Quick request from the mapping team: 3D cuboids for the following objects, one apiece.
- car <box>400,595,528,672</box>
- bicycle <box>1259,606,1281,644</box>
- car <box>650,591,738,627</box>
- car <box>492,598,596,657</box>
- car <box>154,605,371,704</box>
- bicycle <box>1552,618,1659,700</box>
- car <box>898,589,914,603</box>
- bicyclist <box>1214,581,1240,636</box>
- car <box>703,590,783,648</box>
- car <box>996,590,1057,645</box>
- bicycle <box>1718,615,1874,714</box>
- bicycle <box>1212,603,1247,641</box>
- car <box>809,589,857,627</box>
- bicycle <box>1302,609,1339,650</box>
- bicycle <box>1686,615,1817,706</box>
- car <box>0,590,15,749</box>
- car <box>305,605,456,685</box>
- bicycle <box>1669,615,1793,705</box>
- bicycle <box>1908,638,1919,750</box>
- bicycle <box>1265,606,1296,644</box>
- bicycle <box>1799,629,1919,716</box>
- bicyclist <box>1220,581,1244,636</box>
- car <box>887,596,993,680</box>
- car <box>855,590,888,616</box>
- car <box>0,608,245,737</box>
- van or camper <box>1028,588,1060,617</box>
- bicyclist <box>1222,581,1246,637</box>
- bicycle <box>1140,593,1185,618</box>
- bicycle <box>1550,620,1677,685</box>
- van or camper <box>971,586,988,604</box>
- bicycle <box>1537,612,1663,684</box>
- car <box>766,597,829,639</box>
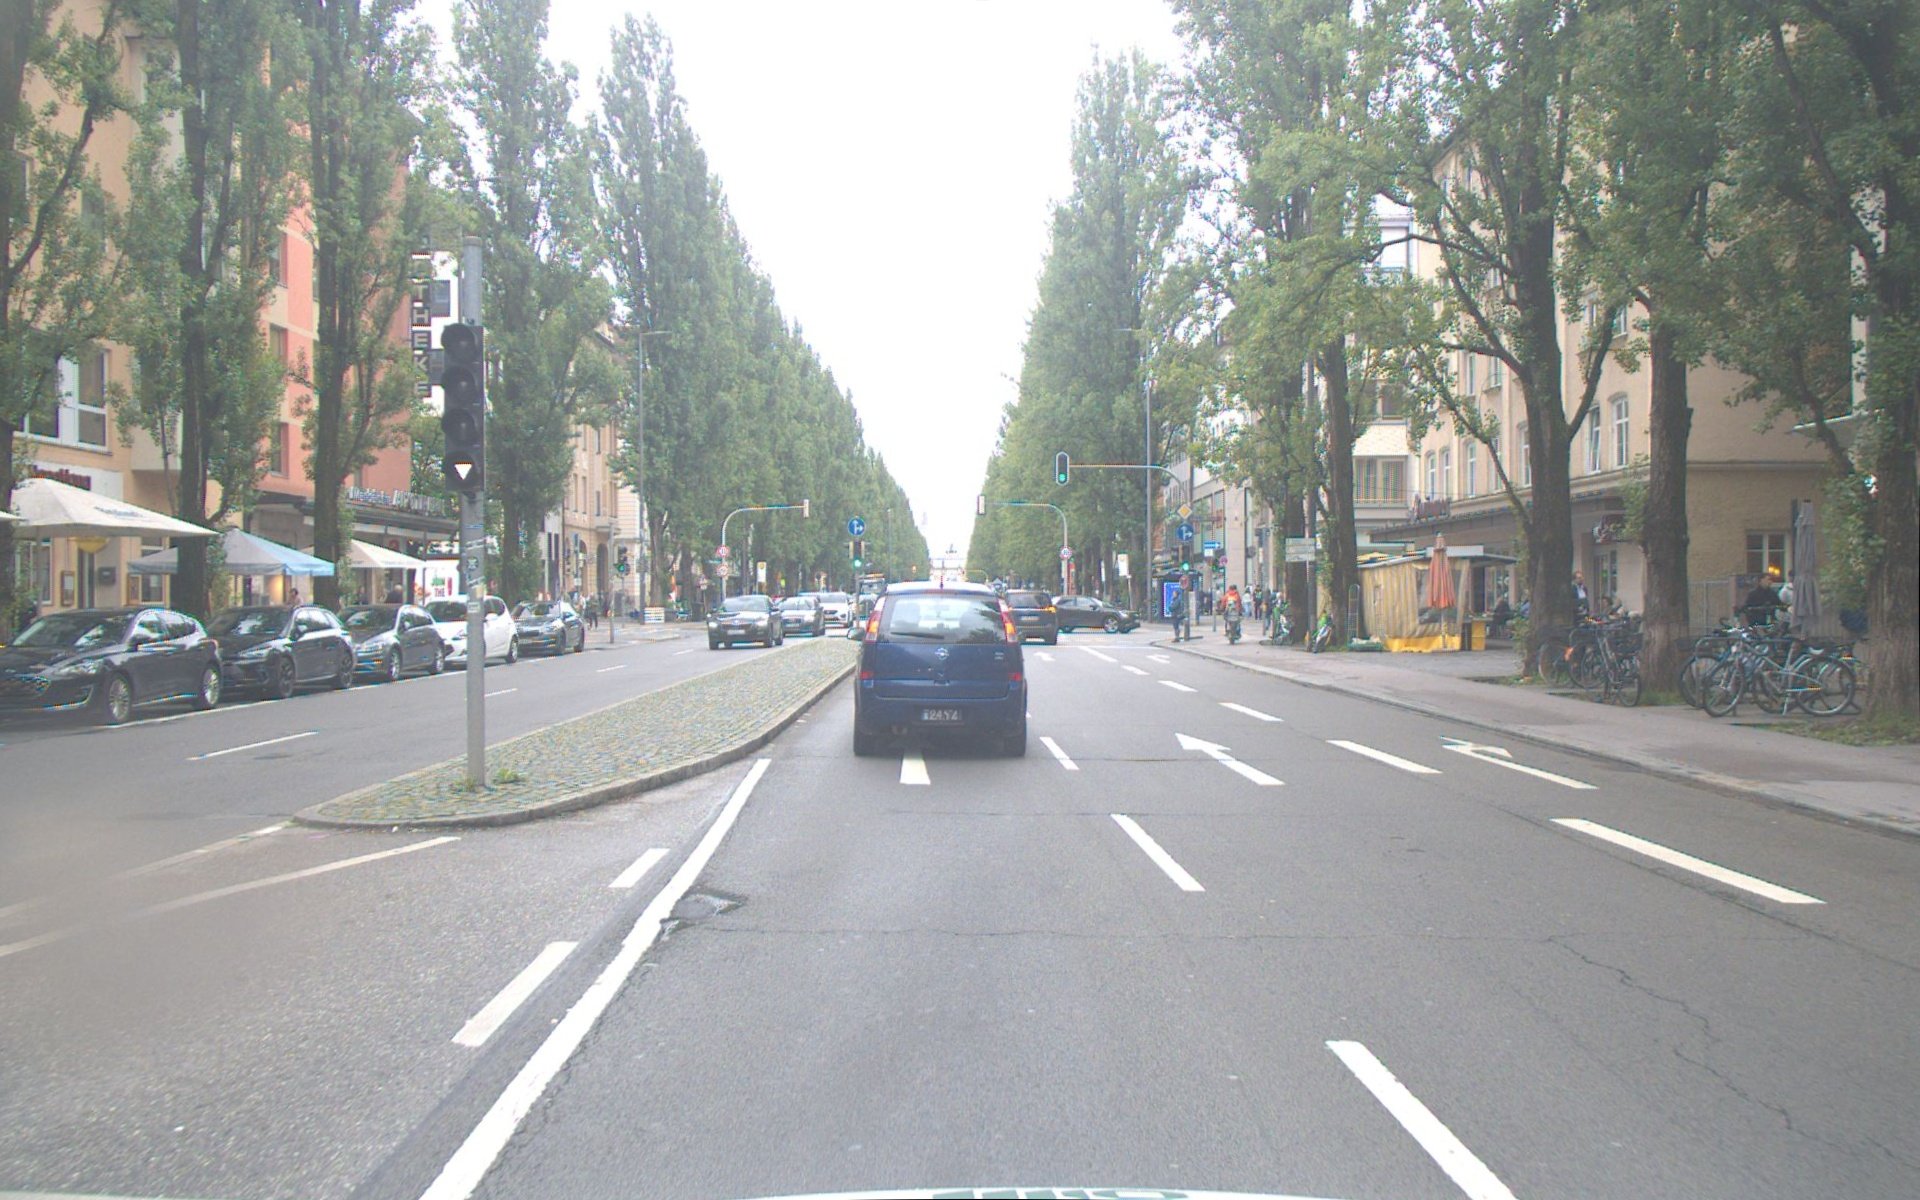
[{"bbox_3d":[-11.210,0.738,37.661,1.668,1.611,4.095,-2,0,0],"label":"car"},{"bbox_3d":[9.305,0.737,49.621,0.396,1.088,1.812,5,1,15],"label":"bicycle"},{"bbox_3d":[-11.864,0.389,73.701,3.636,1.501,1.763,-1,0,-19],"label":"car"},{"bbox_3d":[-11.252,0.722,45.026,1.668,1.463,4.589,-2,0,0],"label":"car"},{"bbox_3d":[-11.241,0.830,26.997,1.668,1.437,4.433,-2,0,0],"label":"car"},{"bbox_3d":[9.154,0.817,23.538,0.425,1.080,2.000,-1,0,-10],"label":"bicycle"},{"bbox_3d":[-6.869,-0.510,209.928,1.874,1.710,4.585,-1,0,-1],"label":"car"},{"bbox_3d":[7.969,0.253,49.380,0.609,1.616,0.753,-1,0,-1],"label":"bicyclist"},{"bbox_3d":[-6.085,0.513,46.681,1.721,1.491,4.049,-2,0,-1],"label":"car"},{"bbox_3d":[2.008,0.497,50.874,1.671,1.601,3.999,-1,0,-1],"label":"car"},{"bbox_3d":[10.127,0.769,20.030,1.830,1.155,0.339,-1,0,-9],"label":"bicycle"},{"bbox_3d":[7.978,0.643,49.098,0.614,1.106,2.263,-1,0,-1],"label":"bicycle"},{"bbox_3d":[-5.922,0.342,77.329,1.806,1.664,4.575,-2,0,0],"label":"car"},{"bbox_3d":[9.249,0.744,42.500,0.498,0.992,1.769,-1,0,-2],"label":"bicycle"},{"bbox_3d":[10.203,0.769,21.326,1.631,1.126,0.395,-1,0,-13],"label":"bicycle"},{"bbox_3d":[-11.203,0.763,15.698,1.743,1.710,4.586,-2,0,1],"label":"car"},{"bbox_3d":[-11.214,0.832,32.265,1.463,1.406,4.186,-2,0,0],"label":"car"},{"bbox_3d":[10.116,0.774,21.689,1.644,1.137,0.285,-1,0,-13],"label":"bicycle"},{"bbox_3d":[9.724,0.845,15.118,1.800,1.027,0.393,-2,0,9],"label":"bicycle"},{"bbox_3d":[9.169,0.708,47.383,0.498,1.066,1.769,-1,0,-2],"label":"bicycle"},{"bbox_3d":[11.006,0.851,19.685,1.961,1.005,0.392,0,0,-9],"label":"bicycle"},{"bbox_3d":[7.985,0.249,48.620,0.609,1.616,0.481,-1,0,-1],"label":"bicyclist"},{"bbox_3d":[-0.415,0.705,32.725,1.953,1.524,3.999,-1,0,-1],"label":"car"},{"bbox_3d":[-5.386,0.152,101.148,1.806,1.528,4.985,-1,0,-1],"label":"car"},{"bbox_3d":[-11.140,0.874,21.663,1.643,1.492,4.369,-2,0,0],"label":"car"},{"bbox_3d":[5.618,0.150,111.118,1.830,1.916,4.902,0,0,-1],"label":"van or camper"},{"bbox_3d":[7.988,0.247,48.168,0.609,1.616,0.391,-1,0,-1],"label":"bicyclist"},{"bbox_3d":[10.736,0.284,87.614,2.295,1.274,0.633,0,0,-1],"label":"bicycle"},{"bbox_3d":[10.109,0.806,25.590,1.961,0.961,0.285,-1,0,-9],"label":"bicycle"},{"bbox_3d":[2.867,-0.793,247.570,2.426,2.626,5.844,-1,0,0],"label":"van or camper"},{"bbox_3d":[10.041,0.751,25.956,1.961,1.102,0.285,1,-1,-9],"label":"bicycle"},{"bbox_3d":[-5.850,0.633,59.883,1.799,1.385,4.176,-3,0,0],"label":"car"}]
